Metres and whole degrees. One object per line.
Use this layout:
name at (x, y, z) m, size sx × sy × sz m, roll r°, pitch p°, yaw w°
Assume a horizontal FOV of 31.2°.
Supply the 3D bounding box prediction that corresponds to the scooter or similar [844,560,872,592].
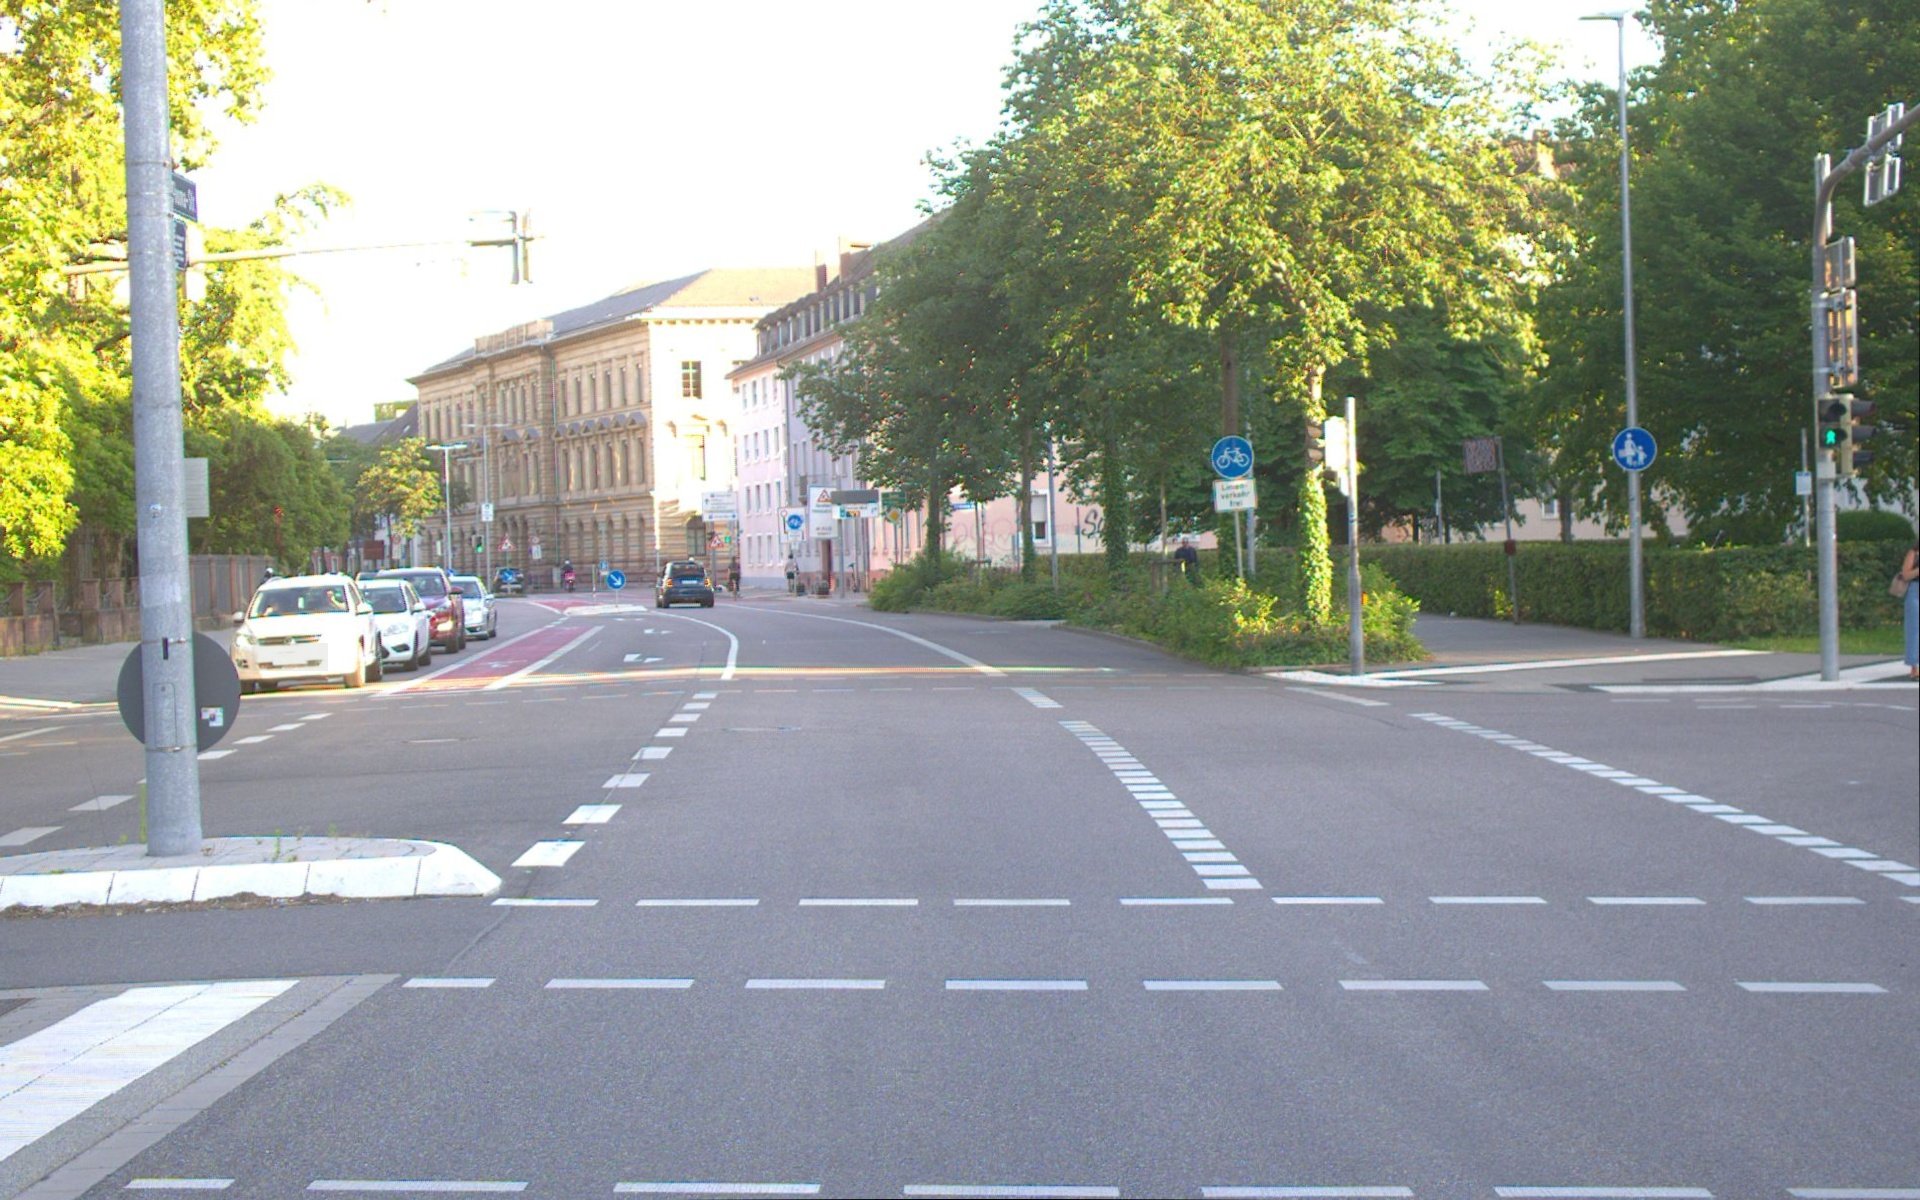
scooter or similar at (-4.318, -1.001, 145.351) m, size 0.629 × 1.332 × 2.401 m, roll -1°, pitch 1°, yaw -14°

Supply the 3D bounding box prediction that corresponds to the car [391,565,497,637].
car at (-11.422, -0.009, 76.361) m, size 1.916 × 1.413 × 4.771 m, roll -3°, pitch 1°, yaw -5°

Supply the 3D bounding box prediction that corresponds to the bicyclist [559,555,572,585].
bicyclist at (-22.466, -1.689, 195.970) m, size 0.652 × 1.692 × 0.957 m, roll 1°, pitch 0°, yaw -10°

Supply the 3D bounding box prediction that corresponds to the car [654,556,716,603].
car at (-9.100, -0.672, 113.923) m, size 1.867 × 1.505 × 4.000 m, roll -1°, pitch 0°, yaw -3°

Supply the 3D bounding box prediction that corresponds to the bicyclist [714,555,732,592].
bicyclist at (-9.319, -1.040, 135.095) m, size 0.652 × 1.441 × 0.879 m, roll 1°, pitch 0°, yaw -6°

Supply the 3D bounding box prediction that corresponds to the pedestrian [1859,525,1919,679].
pedestrian at (10.128, 0.012, 36.906) m, size 0.681 × 1.616 × 0.845 m, roll -2°, pitch 1°, yaw -1°

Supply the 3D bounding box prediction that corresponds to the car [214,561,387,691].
car at (-9.599, 0.335, 50.327) m, size 1.916 × 1.690 × 4.427 m, roll -3°, pitch 1°, yaw -5°

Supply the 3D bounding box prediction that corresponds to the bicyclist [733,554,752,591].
bicyclist at (-8.582, -1.080, 135.662) m, size 0.652 × 1.470 × 0.941 m, roll 1°, pitch 0°, yaw -7°

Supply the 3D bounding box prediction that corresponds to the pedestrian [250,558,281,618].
pedestrian at (-18.961, -0.329, 93.850) m, size 0.681 × 1.617 × 0.688 m, roll -2°, pitch 1°, yaw -1°

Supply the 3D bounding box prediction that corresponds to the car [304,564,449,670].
car at (-9.701, 0.252, 57.463) m, size 1.916 × 1.578 × 4.675 m, roll -3°, pitch 1°, yaw -5°

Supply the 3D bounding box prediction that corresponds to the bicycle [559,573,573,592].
bicycle at (-22.488, -1.000, 196.048) m, size 0.652 × 1.012 × 2.198 m, roll 1°, pitch 1°, yaw -10°

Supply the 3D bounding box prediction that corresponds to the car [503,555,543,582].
car at (-24.945, -1.774, 196.033) m, size 1.916 × 1.413 × 4.771 m, roll -4°, pitch 1°, yaw -10°

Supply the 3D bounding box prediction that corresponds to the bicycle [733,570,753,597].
bicycle at (-8.579, -0.652, 135.663) m, size 0.652 × 1.012 × 2.198 m, roll 1°, pitch 1°, yaw -7°

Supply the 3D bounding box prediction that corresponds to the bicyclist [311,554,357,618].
bicyclist at (-14.325, -0.318, 78.692) m, size 0.855 × 1.426 × 0.943 m, roll -1°, pitch 1°, yaw 0°

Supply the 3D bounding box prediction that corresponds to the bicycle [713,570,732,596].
bicycle at (-9.313, -0.665, 134.938) m, size 0.652 × 1.012 × 2.198 m, roll 1°, pitch 1°, yaw -6°

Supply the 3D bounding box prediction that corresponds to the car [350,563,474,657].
car at (-10.540, 0.164, 66.362) m, size 1.916 × 1.619 × 4.640 m, roll -3°, pitch 1°, yaw -5°

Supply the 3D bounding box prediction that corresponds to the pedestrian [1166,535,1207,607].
pedestrian at (5.490, -0.704, 83.284) m, size 0.769 × 1.733 × 0.807 m, roll -2°, pitch 1°, yaw -10°
